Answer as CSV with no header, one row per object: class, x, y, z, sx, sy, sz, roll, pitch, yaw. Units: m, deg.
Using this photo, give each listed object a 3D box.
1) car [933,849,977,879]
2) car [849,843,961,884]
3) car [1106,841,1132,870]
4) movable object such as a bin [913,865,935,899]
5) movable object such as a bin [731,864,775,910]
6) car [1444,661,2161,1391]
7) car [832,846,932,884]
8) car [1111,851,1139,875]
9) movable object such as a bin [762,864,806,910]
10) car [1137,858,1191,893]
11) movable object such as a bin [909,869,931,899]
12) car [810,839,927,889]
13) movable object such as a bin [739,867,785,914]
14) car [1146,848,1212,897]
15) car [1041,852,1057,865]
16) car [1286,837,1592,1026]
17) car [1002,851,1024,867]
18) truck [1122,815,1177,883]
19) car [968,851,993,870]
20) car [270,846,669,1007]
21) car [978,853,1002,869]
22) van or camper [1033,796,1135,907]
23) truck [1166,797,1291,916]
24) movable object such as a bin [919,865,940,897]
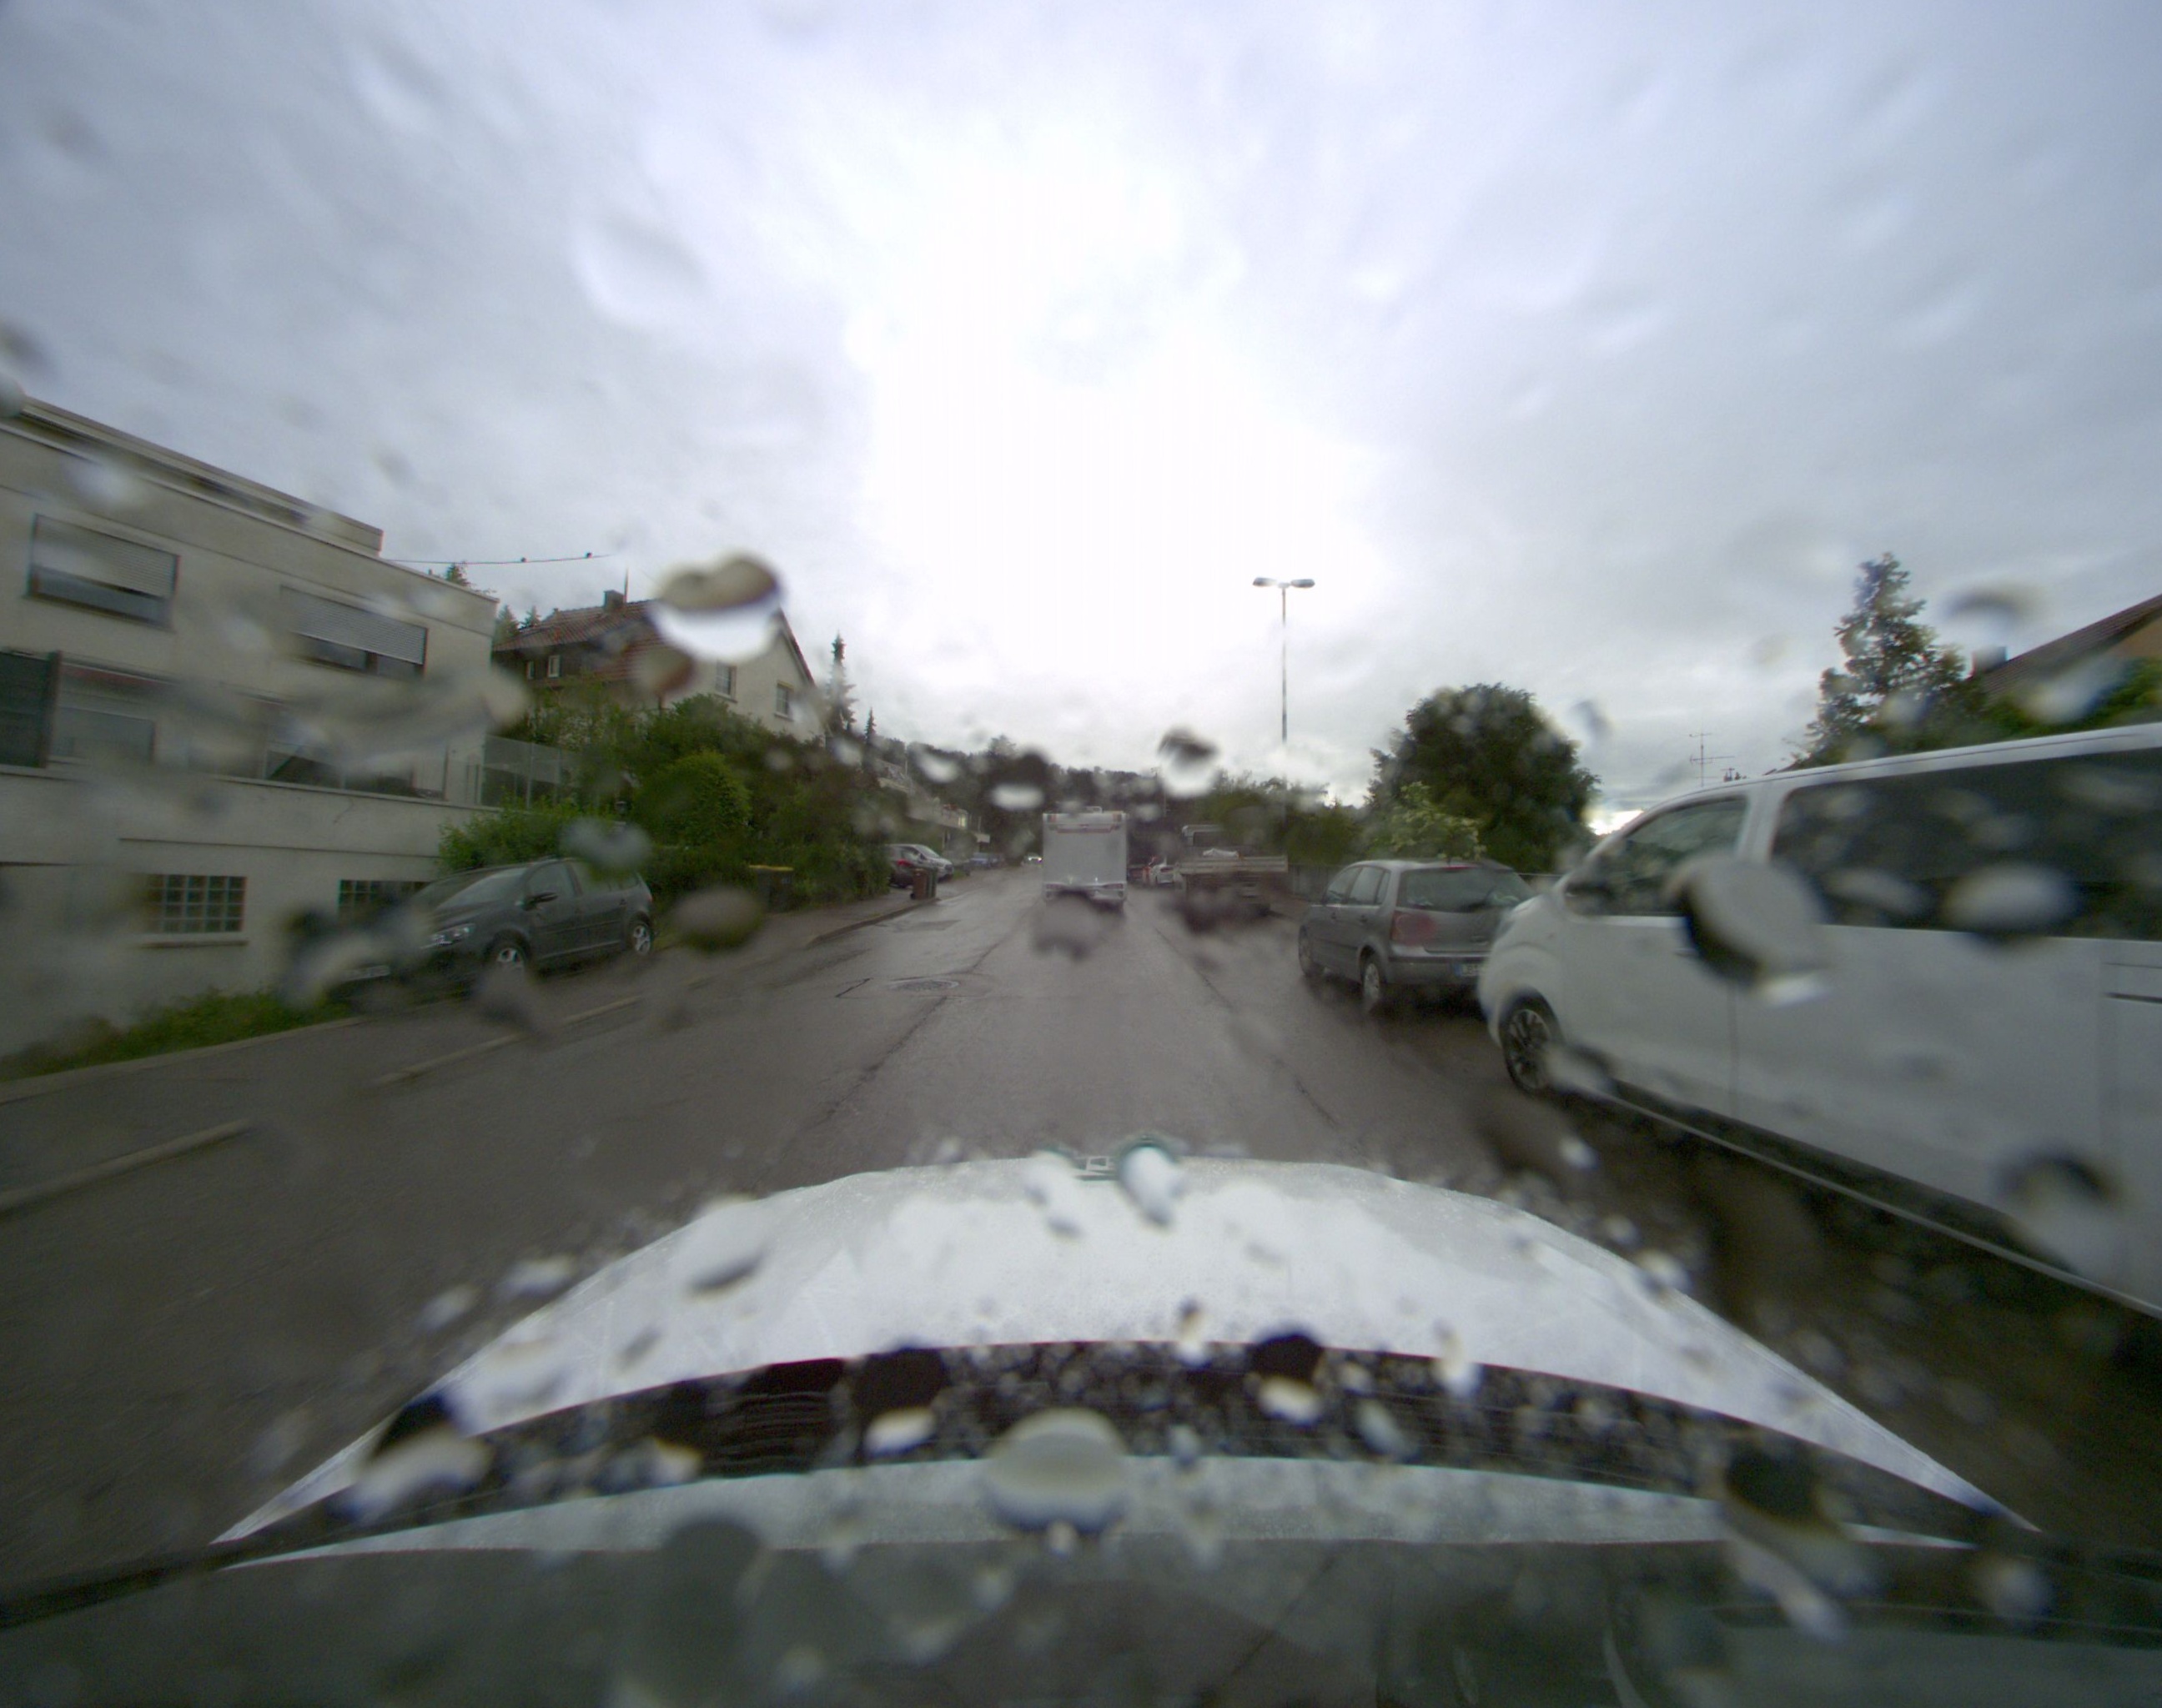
car,-7.795,0.598,50.847,1.682,1.588,4.200,6,0,3
car,-8.813,0.494,40.943,5.046,1.944,2.150,-1,-1,16
car,3.397,0.140,73.890,2.025,2.505,5.954,-1,0,0
movable object such as a bin,-5.157,0.914,26.746,0.601,1.064,0.637,1,0,-5
movable object such as a bin,-8.065,0.801,20.027,0.692,1.083,0.713,-1,0,19
car,3.646,0.443,3.460,1.844,1.882,4.906,-1,-1,-2
car,-9.256,0.524,37.940,4.024,1.638,1.901,1,-1,16
car,3.188,0.644,60.285,1.929,1.672,4.696,-1,0,2
movable object such as a bin,-7.236,0.784,19.833,0.692,1.083,0.713,-1,0,19
car,3.658,0.932,36.727,1.826,1.438,4.984,-1,-1,-1
movable object such as a bin,-5.128,0.960,25.991,0.601,0.928,0.563,1,0,-5
car,-8.517,0.387,32.804,4.027,1.692,1.900,3,0,13
movable object such as a bin,-7.504,0.847,19.144,0.692,1.083,0.713,-1,0,19
car,3.407,0.630,29.112,1.754,1.604,4.665,-1,-1,-1
car,-3.875,0.541,98.738,1.901,1.607,4.425,1,0,-2
car,3.514,0.669,8.839,1.642,1.563,3.964,-1,-1,1
car,-6.916,0.480,83.542,1.768,1.437,4.588,5,0,0
truck,3.571,-0.203,44.286,2.427,3.335,7.966,-1,-1,1
car,-8.525,0.554,69.344,1.602,1.434,3.957,3,0,-1
car,-7.354,0.757,10.521,1.797,1.597,4.417,-1,-1,0
car,-8.408,0.618,75.403,1.627,1.396,4.238,4,0,0
van or camper,0.113,0.021,24.269,2.607,2.853,6.030,1,-2,1
truck,3.659,0.080,21.601,2.231,2.631,6.539,-1,-1,1
movable object such as a bin,-5.083,0.898,27.426,0.601,1.064,0.697,1,0,-4
